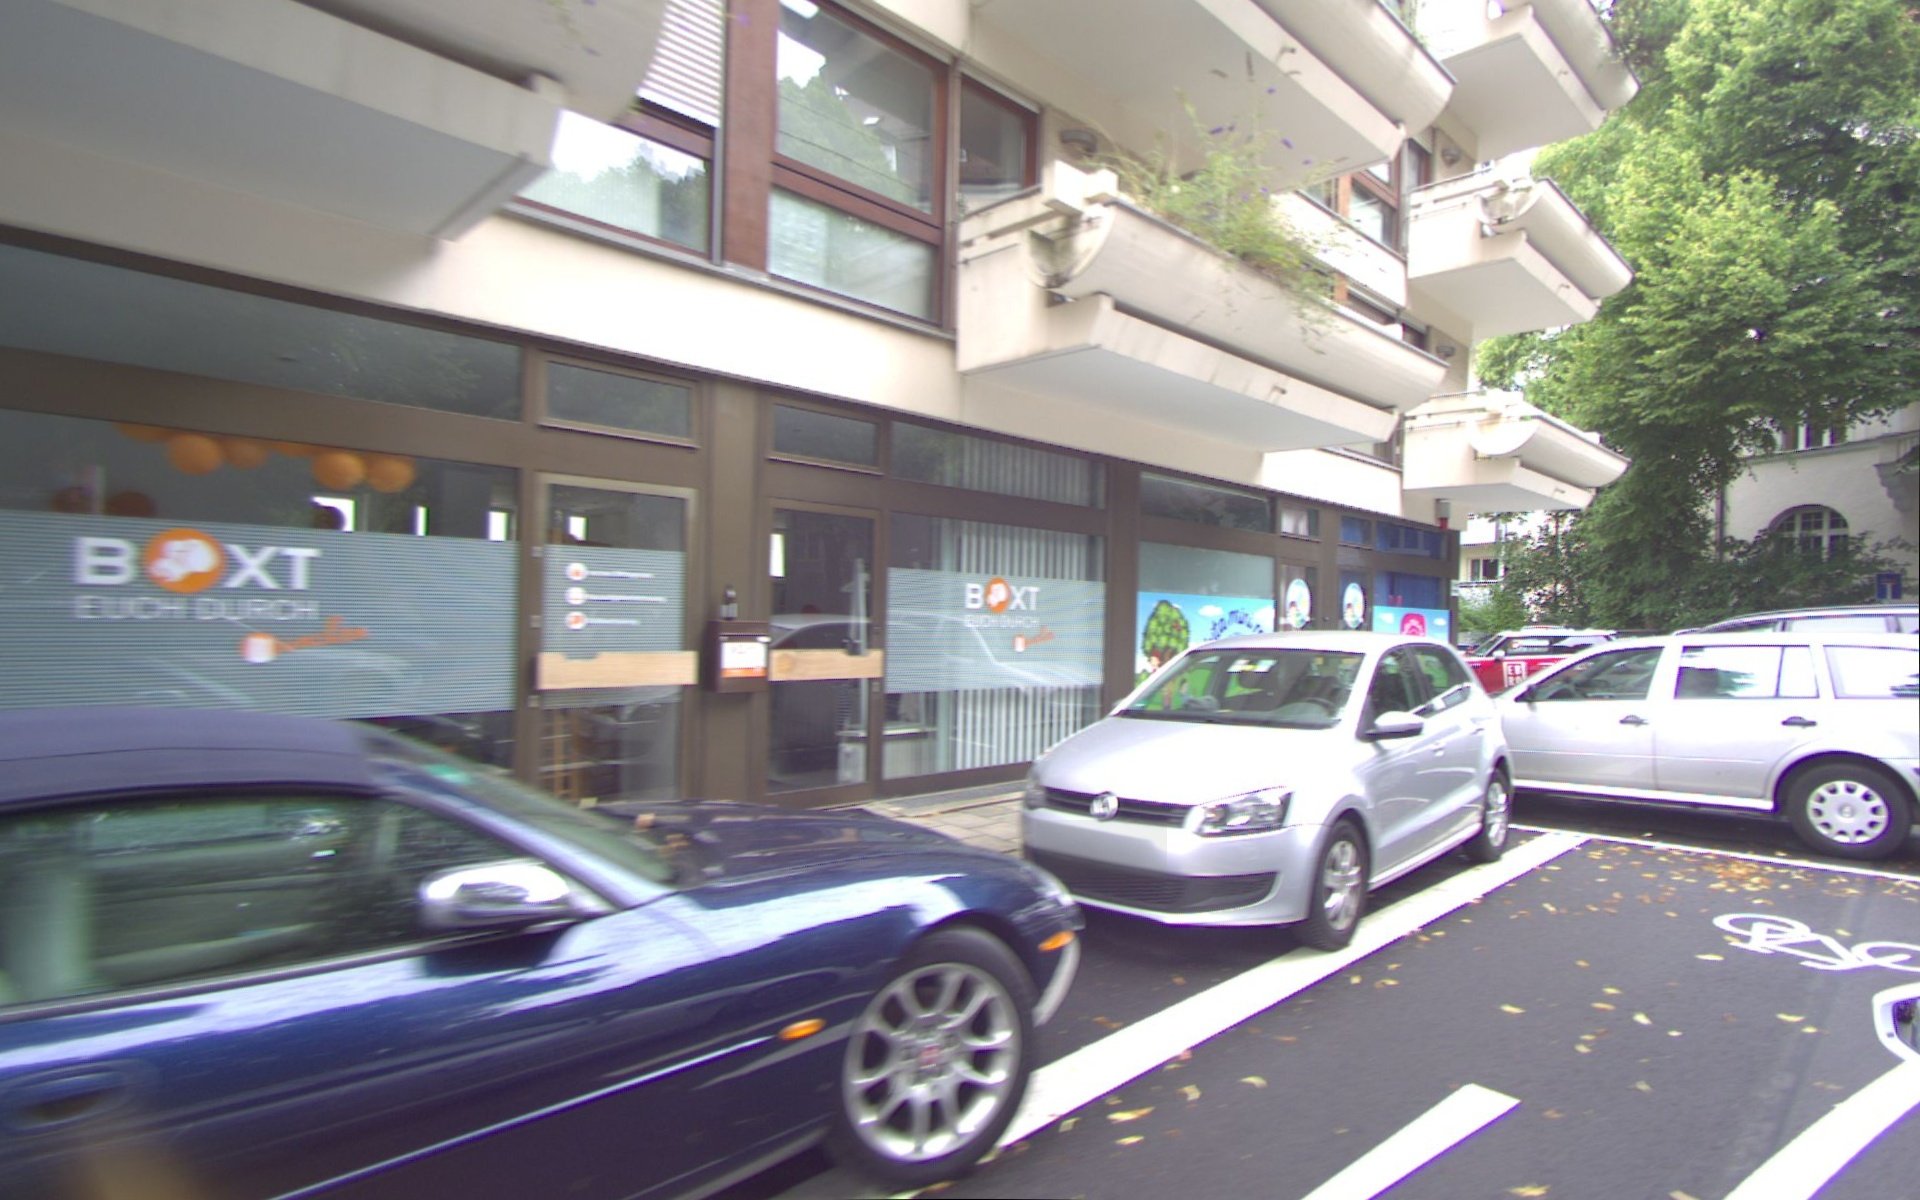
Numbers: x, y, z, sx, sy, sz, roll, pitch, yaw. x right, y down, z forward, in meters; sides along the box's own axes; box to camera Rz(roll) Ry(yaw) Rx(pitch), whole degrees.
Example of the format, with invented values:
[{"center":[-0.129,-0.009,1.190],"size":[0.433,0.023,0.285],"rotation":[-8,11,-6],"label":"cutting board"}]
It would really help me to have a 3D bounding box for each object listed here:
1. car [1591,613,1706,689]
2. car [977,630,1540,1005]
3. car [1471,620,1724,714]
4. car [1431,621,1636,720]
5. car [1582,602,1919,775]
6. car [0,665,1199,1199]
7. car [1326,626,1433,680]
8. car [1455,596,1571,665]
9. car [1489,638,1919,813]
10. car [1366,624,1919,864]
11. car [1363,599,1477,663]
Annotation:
[{"center":[16.519,1.165,24.026],"size":[1.681,1.623,3.977],"rotation":[2,0,43],"label":"car"},{"center":[1.953,0.897,5.804],"size":[1.544,1.440,3.810],"rotation":[-2,-2,44],"label":"car"},{"center":[10.463,1.048,16.750],"size":[3.398,1.302,1.528],"rotation":[1,0,29],"label":"car"},{"center":[10.820,1.279,19.184],"size":[3.237,1.653,1.508],"rotation":[2,0,27],"label":"car"},{"center":[9.550,0.915,11.165],"size":[4.176,1.706,1.891],"rotation":[-2,-3,44],"label":"car"},{"center":[-1.440,0.877,2.330],"size":[1.779,1.295,4.588],"rotation":[-2,-2,45],"label":"car"},{"center":[13.444,1.648,32.116],"size":[3.972,1.622,1.717],"rotation":[1,-2,-44],"label":"car"},{"center":[14.322,0.758,25.924],"size":[1.681,1.623,3.977],"rotation":[2,0,43],"label":"car"},{"center":[7.450,1.060,9.494],"size":[1.707,1.385,4.018],"rotation":[1,-2,-45],"label":"car"},{"center":[5.576,0.952,7.772],"size":[1.710,1.474,4.186],"rotation":[1,-3,-45],"label":"car"},{"center":[12.797,0.828,27.829],"size":[1.681,1.623,3.977],"rotation":[2,0,43],"label":"car"}]
